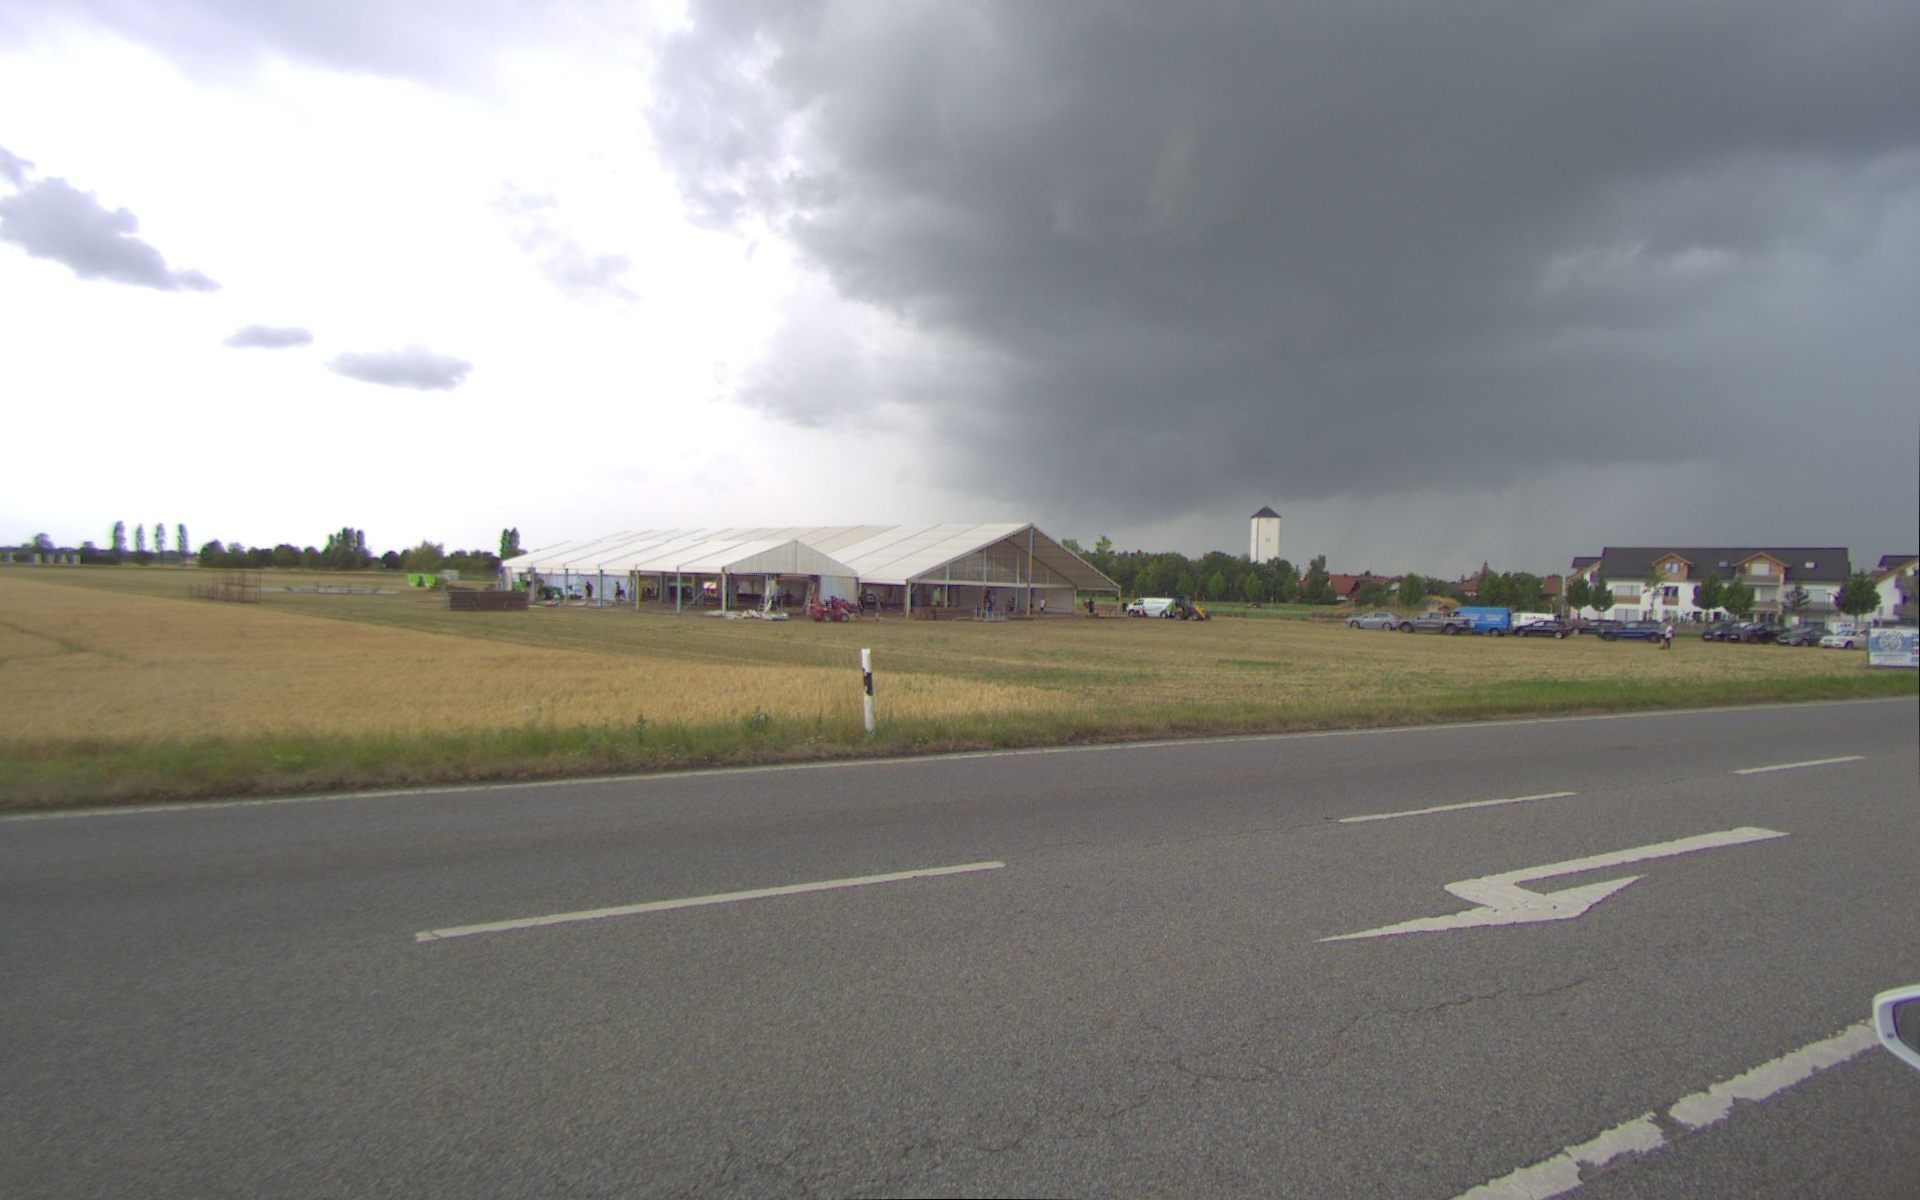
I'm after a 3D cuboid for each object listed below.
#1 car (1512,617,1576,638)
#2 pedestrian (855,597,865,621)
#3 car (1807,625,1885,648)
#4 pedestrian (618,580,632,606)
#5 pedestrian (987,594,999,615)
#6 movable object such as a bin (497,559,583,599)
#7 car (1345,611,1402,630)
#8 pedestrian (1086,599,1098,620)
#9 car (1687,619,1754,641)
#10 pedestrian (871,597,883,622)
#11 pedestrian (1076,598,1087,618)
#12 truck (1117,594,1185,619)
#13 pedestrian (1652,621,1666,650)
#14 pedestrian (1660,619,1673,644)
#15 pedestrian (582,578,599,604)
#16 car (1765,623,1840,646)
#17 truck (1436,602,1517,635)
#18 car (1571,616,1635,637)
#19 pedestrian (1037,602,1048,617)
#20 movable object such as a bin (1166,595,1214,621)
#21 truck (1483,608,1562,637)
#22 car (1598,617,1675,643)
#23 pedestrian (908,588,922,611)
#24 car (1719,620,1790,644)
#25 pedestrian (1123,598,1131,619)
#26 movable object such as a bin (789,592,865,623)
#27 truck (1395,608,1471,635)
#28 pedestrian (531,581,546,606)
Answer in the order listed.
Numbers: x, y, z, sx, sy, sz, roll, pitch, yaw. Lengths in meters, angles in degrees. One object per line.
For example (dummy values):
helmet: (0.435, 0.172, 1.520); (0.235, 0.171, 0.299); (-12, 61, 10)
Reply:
car: (46.894, 2.174, 80.643); (4.107, 1.539, 1.990); (2, 0, 41)
pedestrian: (-6.808, 0.611, 68.351); (0.573, 1.649, 0.469); (2, 0, -11)
car: (62.481, 2.535, 70.844); (4.137, 1.465, 1.996); (1, 0, -11)
pedestrian: (-27.408, -0.552, 82.212); (0.930, 2.130, 0.861); (1, 0, -30)
pedestrian: (2.908, 0.380, 88.166); (0.689, 1.799, 0.682); (1, 0, -40)
movable object such as a bin: (-37.682, -1.913, 90.074); (7.469, 3.219, 4.138); (3, 1, 41)
car: (35.429, 1.733, 86.081); (4.237, 1.481, 1.885); (2, 0, 35)
pedestrian: (11.593, 0.803, 88.129); (0.680, 1.799, 0.691); (2, 1, 42)
car: (60.725, 2.392, 80.187); (4.137, 1.651, 1.996); (1, 0, -11)
pedestrian: (-5.588, 0.663, 67.756); (0.539, 1.649, 0.548); (2, 0, 44)
pedestrian: (10.936, 0.728, 90.375); (0.688, 1.799, 0.684); (1, 0, -35)
truck: (18.899, 0.600, 99.365); (5.962, 2.246, 2.713); (2, 0, 34)
pedestrian: (44.598, 2.265, 64.081); (0.673, 1.809, 0.543); (1, 0, -41)
pedestrian: (45.366, 2.044, 64.495); (0.583, 1.576, 0.622); (2, 0, 42)
pedestrian: (-29.127, -0.698, 79.166); (1.006, 2.040, 0.806); (2, 0, -8)
car: (61.552, 2.527, 73.425); (4.137, 1.556, 1.996); (1, 0, -11)
truck: (41.511, 1.462, 80.829); (5.380, 2.478, 2.384); (2, 0, 39)
car: (57.453, 2.342, 89.815); (4.572, 1.720, 1.990); (2, 0, 41)
pedestrian: (7.167, 0.794, 87.360); (0.689, 1.288, 0.682); (1, 0, -40)
movable object such as a bin: (21.354, 0.744, 93.245); (3.930, 2.273, 1.880); (2, 0, 34)
truck: (47.670, 1.845, 85.123); (5.496, 2.226, 2.596); (2, 0, 39)
car: (51.639, 2.272, 76.683); (4.661, 1.720, 1.990); (2, 0, 41)
pedestrian: (-3.909, -0.047, 87.093); (0.868, 2.040, 0.761); (1, 0, -33)
car: (60.439, 2.412, 76.419); (4.137, 1.651, 1.996); (1, 0, -11)
pedestrian: (15.496, 0.768, 93.248); (0.694, 1.890, 0.626); (2, 0, 5)
movable object such as a bin: (-8.658, 0.513, 65.683); (2.556, 1.889, 4.456); (2, 0, 38)
truck: (37.440, 1.689, 79.511); (5.156, 1.946, 2.106); (2, 0, 35)
pedestrian: (-34.656, -0.514, 82.628); (1.011, 2.040, 0.802); (2, 1, 44)
